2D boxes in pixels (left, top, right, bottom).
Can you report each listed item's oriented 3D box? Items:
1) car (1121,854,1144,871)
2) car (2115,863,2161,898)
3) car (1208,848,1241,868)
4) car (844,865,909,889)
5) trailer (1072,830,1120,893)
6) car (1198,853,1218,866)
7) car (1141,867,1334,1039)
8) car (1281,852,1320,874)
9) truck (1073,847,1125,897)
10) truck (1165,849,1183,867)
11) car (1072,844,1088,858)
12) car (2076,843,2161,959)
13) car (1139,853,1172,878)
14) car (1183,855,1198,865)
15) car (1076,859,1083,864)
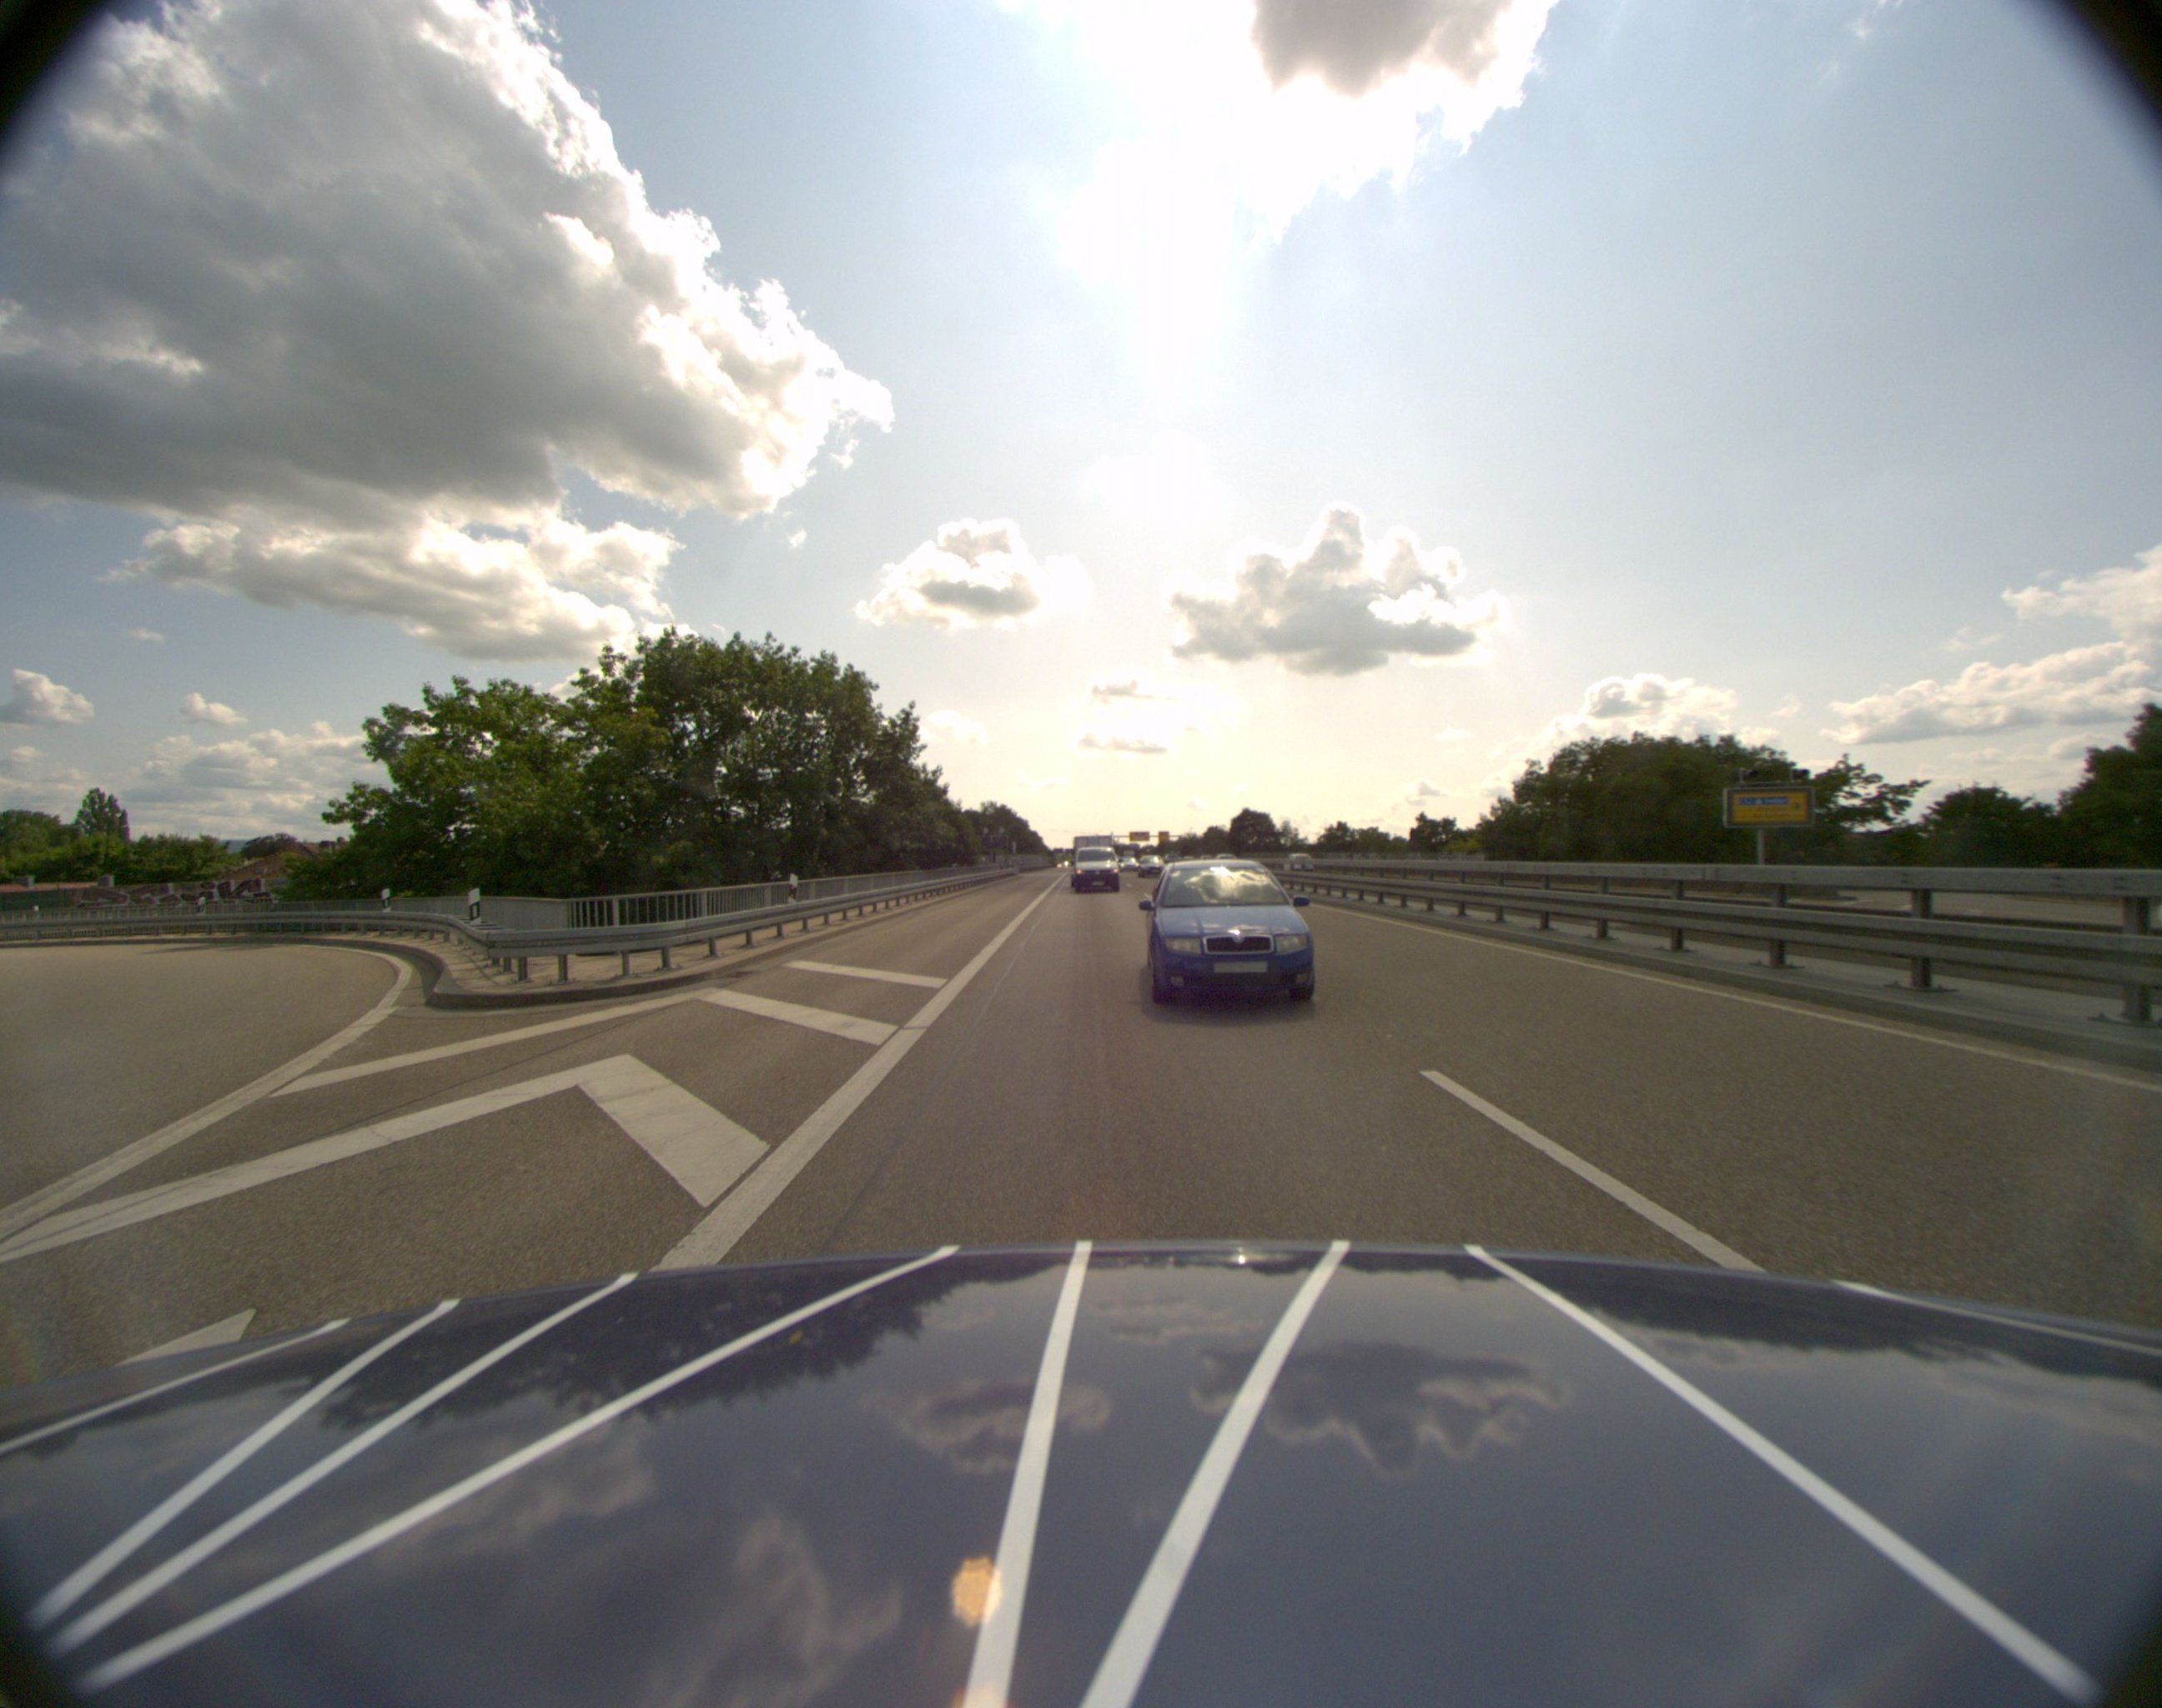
[{"bbox_3d":[5.037,0.779,74.364,1.895,1.518,4.465,-2,0,0],"label":"car"},{"bbox_3d":[67.363,1.571,46.813,5.167,1.887,1.999,-2,0,-6],"label":"car"},{"bbox_3d":[12.247,0.325,65.058,1.907,1.520,4.242,-2,0,-2],"label":"car"},{"bbox_3d":[-13.825,1.530,51.436,3.778,1.403,1.765,-2,0,-40],"label":"car"},{"bbox_3d":[0.643,0.330,36.882,1.999,2.723,5.966,-2,0,-1],"label":"trailer"},{"bbox_3d":[16.265,0.678,97.182,1.826,1.629,4.000,-2,0,0],"label":"car"},{"bbox_3d":[1.534,0.918,8.628,1.625,1.403,3.772,-2,0,4],"label":"car"},{"bbox_3d":[16.806,0.673,58.336,1.833,1.572,3.954,-2,0,1],"label":"car"},{"bbox_3d":[0.701,0.715,31.888,2.008,1.905,4.000,-1,0,0],"label":"truck"},{"bbox_3d":[12.296,0.498,100.773,1.877,2.174,5.188,-2,0,2],"label":"truck"},{"bbox_3d":[-0.075,-0.338,88.470,1.802,1.586,3.985,-2,0,1],"label":"car"},{"bbox_3d":[16.098,0.649,9.248,1.802,1.586,4.712,-2,0,1],"label":"car"},{"bbox_3d":[5.075,0.748,51.940,1.779,1.518,4.465,-2,0,0],"label":"car"},{"bbox_3d":[16.435,0.955,114.575,1.602,1.466,3.630,1,0,-2],"label":"car"},{"bbox_3d":[-0.378,2.288,229.693,1.895,1.518,4.465,-2,0,0],"label":"car"}]
